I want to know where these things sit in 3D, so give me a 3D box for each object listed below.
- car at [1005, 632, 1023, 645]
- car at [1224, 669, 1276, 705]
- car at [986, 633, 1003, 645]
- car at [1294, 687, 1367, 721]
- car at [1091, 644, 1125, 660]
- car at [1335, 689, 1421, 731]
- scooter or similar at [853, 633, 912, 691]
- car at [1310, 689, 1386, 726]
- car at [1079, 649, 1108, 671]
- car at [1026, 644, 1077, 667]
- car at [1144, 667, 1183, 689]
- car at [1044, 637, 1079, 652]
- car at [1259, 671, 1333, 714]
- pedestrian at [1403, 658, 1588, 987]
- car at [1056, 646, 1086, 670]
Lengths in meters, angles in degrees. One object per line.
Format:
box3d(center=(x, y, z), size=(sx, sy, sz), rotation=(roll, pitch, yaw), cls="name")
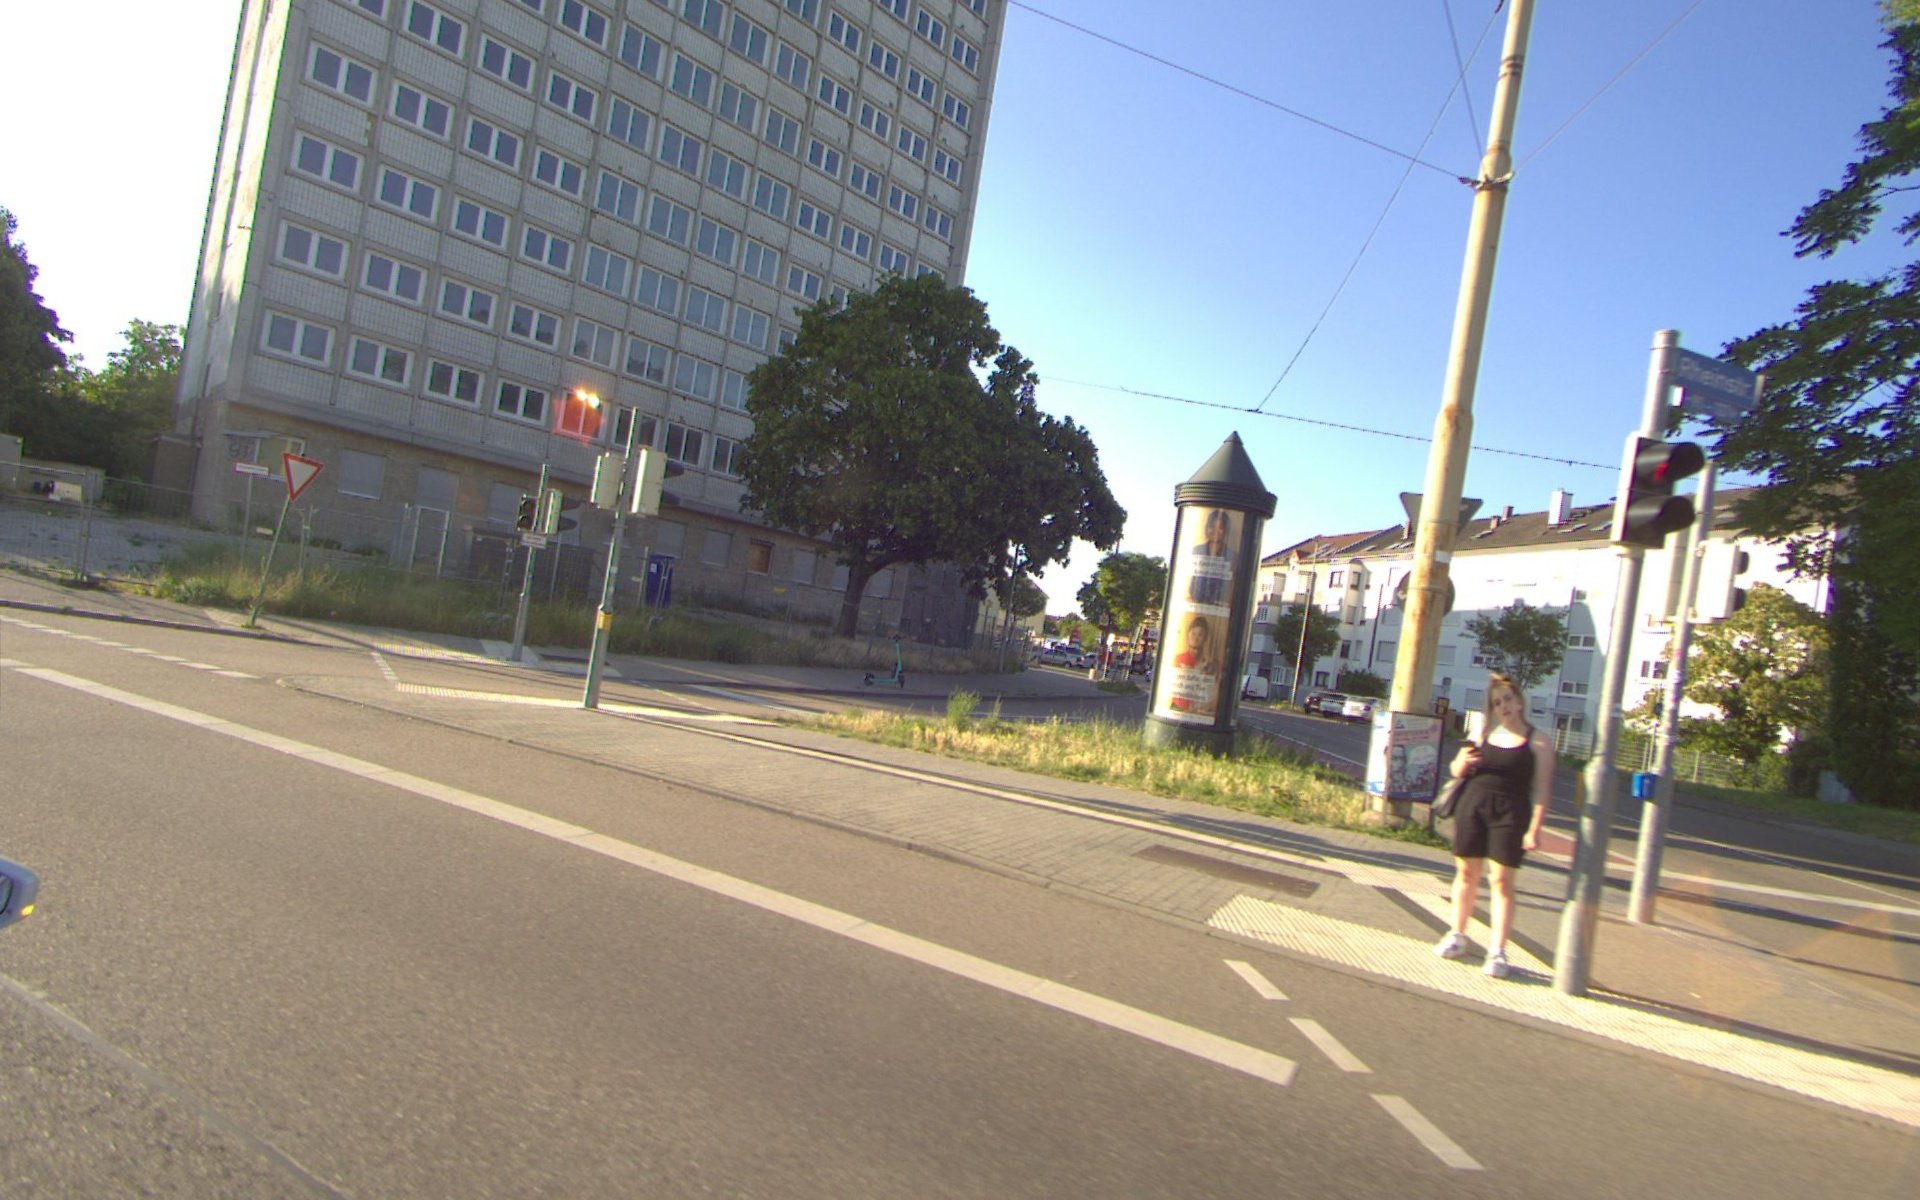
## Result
box3d(center=(7.666, 5.486, 143.007), size=(1.833, 1.561, 3.876), rotation=(8, -2, -7), cls="car")
box3d(center=(20.505, 6.123, 71.229), size=(1.965, 2.037, 3.998), rotation=(8, -2, -6), cls="car")
box3d(center=(5.394, 6.126, 156.806), size=(1.833, 1.561, 3.998), rotation=(8, -2, -7), cls="car")
box3d(center=(21.519, 6.035, 58.379), size=(3.964, 1.398, 1.887), rotation=(10, -3, -34), cls="car")
box3d(center=(19.645, 6.921, 133.495), size=(3.994, 1.475, 1.877), rotation=(8, -2, -10), cls="car")
box3d(center=(21.731, 5.739, 52.274), size=(4.181, 1.581, 1.767), rotation=(9, -2, -29), cls="car")
box3d(center=(-1.789, 1.441, 23.285), size=(1.293, 1.183, 0.323), rotation=(9, -1, -42), cls="scooter or similar")
box3d(center=(21.281, 5.896, 55.141), size=(3.964, 1.442, 1.887), rotation=(10, -3, -34), cls="car")
box3d(center=(13.930, 6.230, 105.308), size=(1.833, 1.926, 3.997), rotation=(7, -2, -8), cls="car")
box3d(center=(7.271, 4.393, 79.767), size=(3.654, 1.315, 1.509), rotation=(9, -2, -12), cls="car")
box3d(center=(17.719, 6.776, 87.768), size=(1.804, 1.400, 3.993), rotation=(10, -2, -12), cls="car")
box3d(center=(13.377, 5.866, 132.764), size=(3.994, 1.475, 1.877), rotation=(9, -2, -10), cls="car")
box3d(center=(20.569, 5.643, 61.554), size=(4.188, 2.036, 1.983), rotation=(9, -2, -34), cls="car")
box3d(center=(2.950, 1.185, 5.553), size=(0.435, 1.631, 0.622), rotation=(8, -1, -42), cls="pedestrian")
box3d(center=(10.399, 5.446, 94.576), size=(1.832, 1.925, 4.000), rotation=(8, -2, -4), cls="car")
